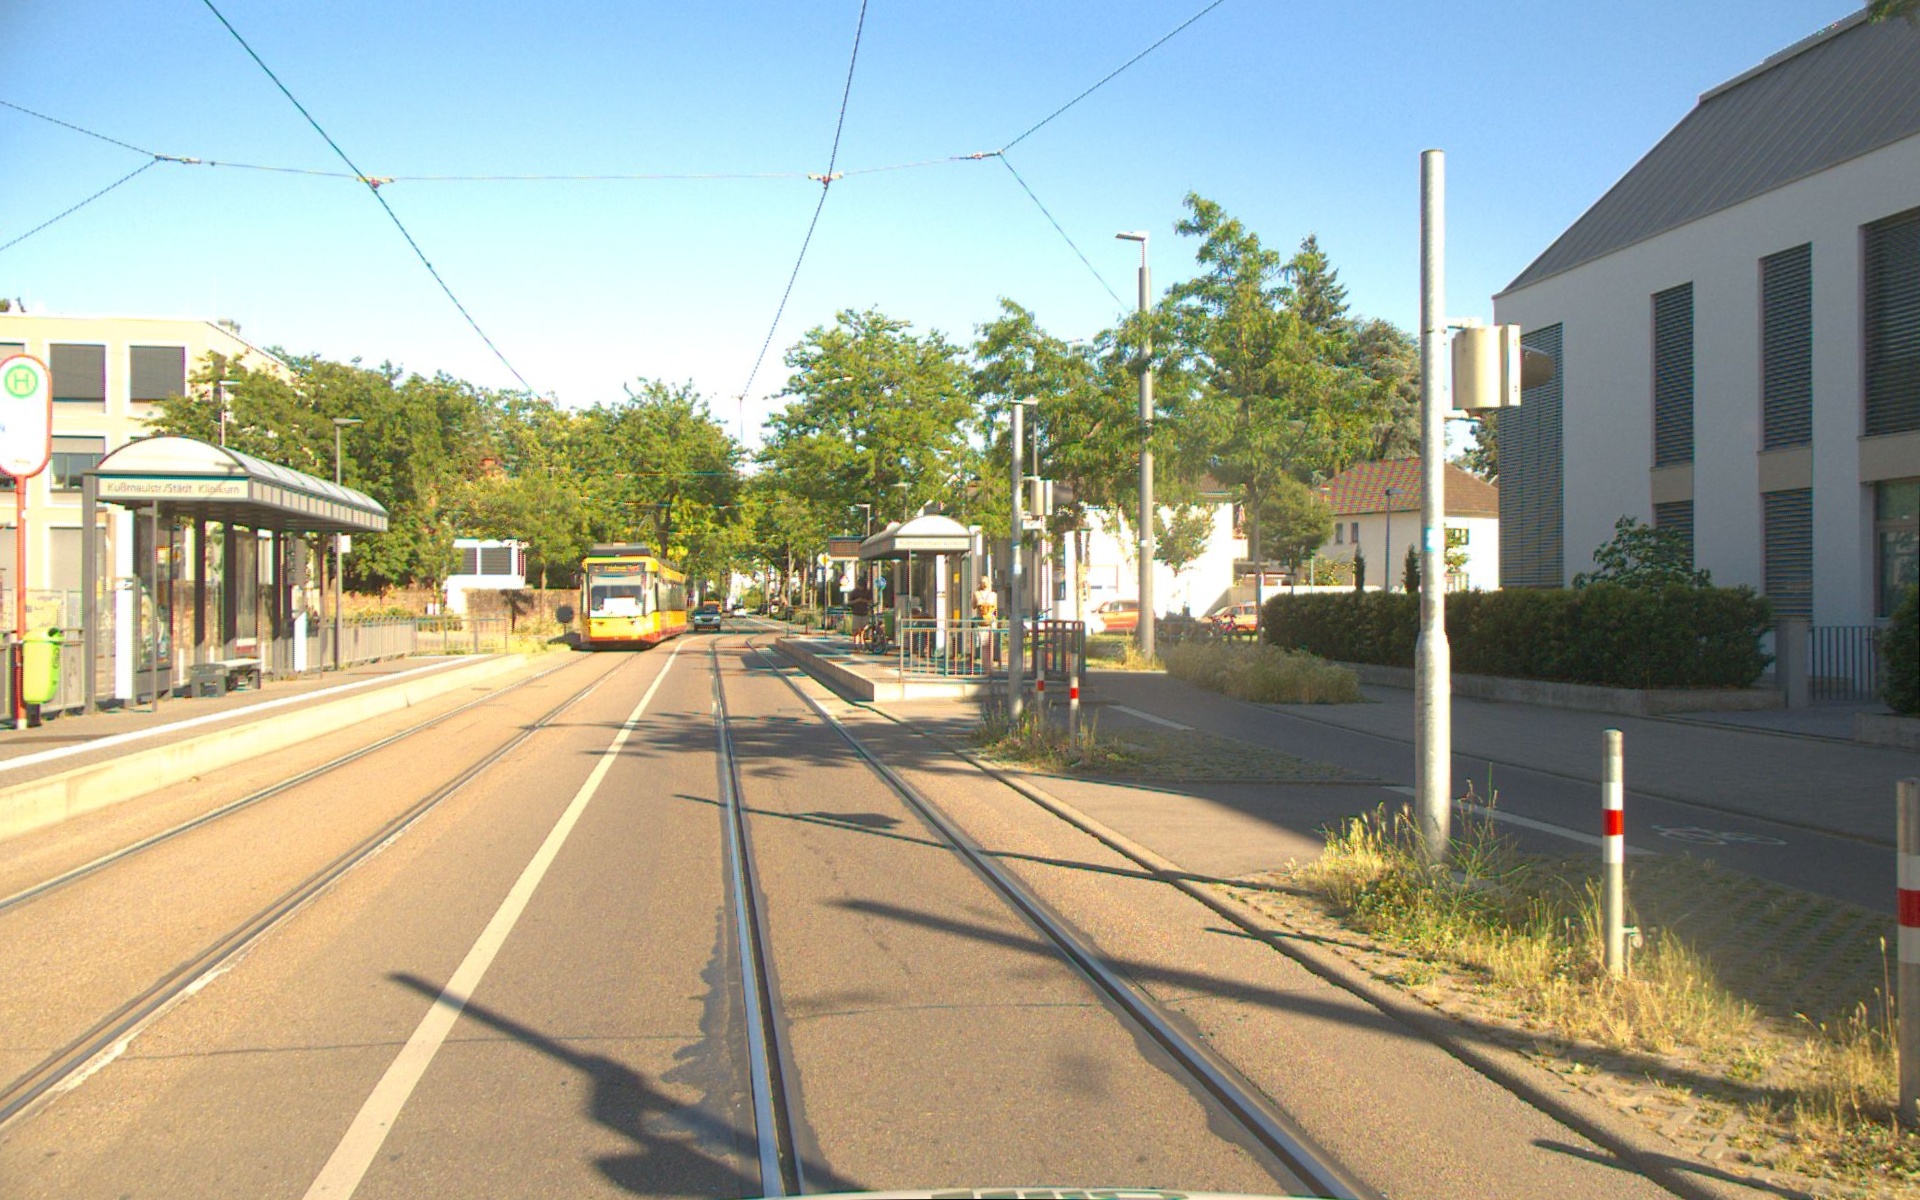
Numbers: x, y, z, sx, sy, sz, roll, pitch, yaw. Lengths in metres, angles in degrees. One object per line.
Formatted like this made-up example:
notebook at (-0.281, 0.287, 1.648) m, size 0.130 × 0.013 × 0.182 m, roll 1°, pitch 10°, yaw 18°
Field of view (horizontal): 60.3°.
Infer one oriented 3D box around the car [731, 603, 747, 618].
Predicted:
car at (-25.857, 1.170, 193.341) m, size 1.831 × 1.704 × 4.165 m, roll -1°, pitch 0°, yaw -8°

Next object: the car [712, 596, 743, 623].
car at (-15.071, 0.593, 107.263) m, size 1.730 × 1.693 × 4.206 m, roll -1°, pitch 0°, yaw -4°

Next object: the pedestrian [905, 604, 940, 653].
pedestrian at (-0.884, 0.663, 38.693) m, size 0.724 × 1.137 × 0.657 m, roll 1°, pitch -1°, yaw -9°

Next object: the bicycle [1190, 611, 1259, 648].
bicycle at (7.450, 0.826, 46.560) m, size 1.866 × 0.996 × 0.489 m, roll -1°, pitch 0°, yaw -16°

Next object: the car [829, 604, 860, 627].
car at (-7.749, 1.024, 110.736) m, size 1.716 × 1.521 × 4.434 m, roll -1°, pitch 0°, yaw -9°

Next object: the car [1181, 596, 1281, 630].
car at (12.322, 0.577, 75.294) m, size 4.094 × 1.534 × 1.974 m, roll 0°, pitch 0°, yaw -16°

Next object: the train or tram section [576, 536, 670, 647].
train or tram section at (-11.324, -0.263, 56.008) m, size 2.752 × 3.520 × 6.655 m, roll 0°, pitch 0°, yaw -9°

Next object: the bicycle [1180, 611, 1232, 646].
bicycle at (7.127, 0.832, 48.007) m, size 1.446 × 0.996 × 0.414 m, roll -1°, pitch 0°, yaw -16°

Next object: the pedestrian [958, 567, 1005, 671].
pedestrian at (0.364, 0.321, 28.030) m, size 0.659 × 1.734 × 0.689 m, roll 1°, pitch -1°, yaw -10°

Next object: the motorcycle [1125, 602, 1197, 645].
motorcycle at (6.221, 0.730, 51.326) m, size 2.043 × 1.296 × 0.858 m, roll -1°, pitch 0°, yaw -16°

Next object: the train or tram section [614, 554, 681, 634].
train or tram section at (-14.245, -0.256, 75.787) m, size 2.752 × 3.520 × 6.655 m, roll 0°, pitch 0°, yaw -9°

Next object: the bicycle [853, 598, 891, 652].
bicycle at (-2.115, 0.581, 39.573) m, size 0.609 × 1.251 × 1.960 m, roll 0°, pitch 0°, yaw -12°

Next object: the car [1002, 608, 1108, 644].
car at (4.070, 1.132, 71.285) m, size 4.507 × 1.492 × 1.982 m, roll -1°, pitch -2°, yaw 2°

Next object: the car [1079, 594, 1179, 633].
car at (7.550, 0.597, 74.036) m, size 4.087 × 1.671 × 1.977 m, roll 0°, pitch 0°, yaw -11°

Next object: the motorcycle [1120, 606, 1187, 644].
motorcycle at (6.192, 0.784, 52.957) m, size 1.965 × 1.178 × 0.858 m, roll -1°, pitch 0°, yaw -16°

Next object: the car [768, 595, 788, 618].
car at (-22.624, 0.803, 205.242) m, size 2.204 × 2.700 × 5.573 m, roll 0°, pitch 0°, yaw -9°

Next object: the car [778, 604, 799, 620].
car at (-18.146, 1.257, 174.723) m, size 1.752 × 1.473 × 4.290 m, roll -3°, pitch 1°, yaw -10°

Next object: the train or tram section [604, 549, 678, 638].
train or tram section at (-13.283, -0.254, 69.218) m, size 2.752 × 3.520 × 6.655 m, roll 0°, pitch 0°, yaw -9°

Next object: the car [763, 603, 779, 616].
car at (-27.127, 1.383, 237.224) m, size 1.966 × 1.704 × 4.383 m, roll -2°, pitch 0°, yaw -9°

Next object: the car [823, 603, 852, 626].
car at (-8.677, 1.020, 116.969) m, size 1.716 × 1.521 × 3.988 m, roll -1°, pitch 0°, yaw -9°

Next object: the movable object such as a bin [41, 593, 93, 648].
movable object such as a bin at (-24.517, 0.550, 45.412) m, size 0.865 × 1.472 × 1.306 m, roll -1°, pitch 0°, yaw -10°

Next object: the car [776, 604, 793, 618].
car at (-19.575, 1.246, 184.387) m, size 1.597 × 1.422 × 3.638 m, roll -3°, pitch 1°, yaw -9°

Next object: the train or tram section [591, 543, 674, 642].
train or tram section at (-12.304, -0.259, 62.611) m, size 2.752 × 3.520 × 6.655 m, roll 0°, pitch 0°, yaw -9°

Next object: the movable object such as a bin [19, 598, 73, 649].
movable object such as a bin at (-24.124, 0.605, 43.660) m, size 0.865 × 1.307 × 1.306 m, roll -1°, pitch 0°, yaw -10°

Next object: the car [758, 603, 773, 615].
car at (-29.931, 1.416, 254.509) m, size 1.964 × 1.704 × 4.387 m, roll -2°, pitch 0°, yaw -5°

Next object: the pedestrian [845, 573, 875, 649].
pedestrian at (-2.538, 0.283, 42.048) m, size 0.697 × 1.886 × 0.728 m, roll 1°, pitch -1°, yaw -7°
